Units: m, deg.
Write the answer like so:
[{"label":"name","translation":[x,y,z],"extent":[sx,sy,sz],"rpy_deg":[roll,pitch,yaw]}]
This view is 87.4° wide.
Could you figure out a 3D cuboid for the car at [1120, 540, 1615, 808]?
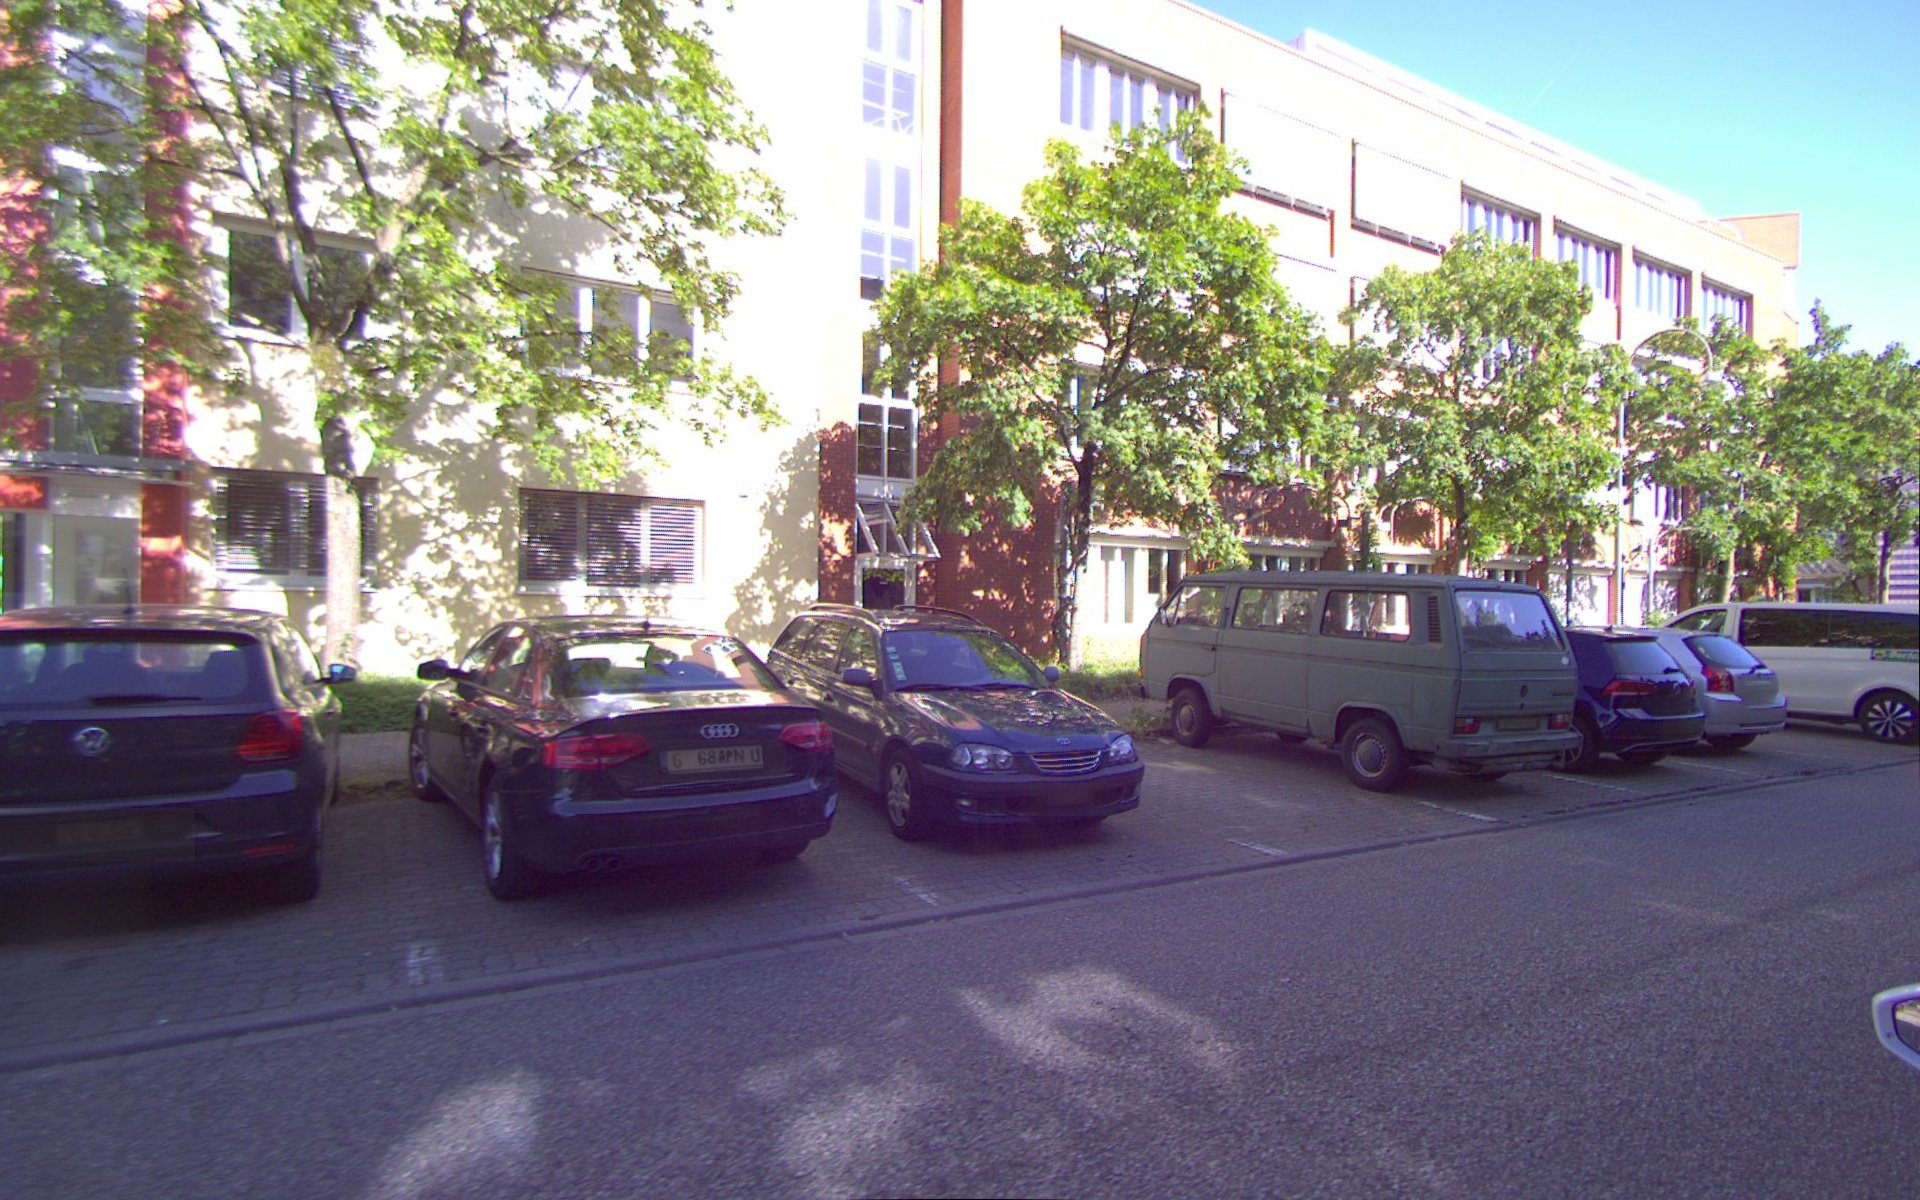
[{"label":"car","translation":[3.849,0.562,10.416],"extent":[2.056,2.118,4.470],"rpy_deg":[1,1,-27]}]

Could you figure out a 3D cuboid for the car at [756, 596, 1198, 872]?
[{"label":"car","translation":[-0.165,0.792,8.089],"extent":[1.704,1.548,4.113],"rpy_deg":[1,1,-29]}]

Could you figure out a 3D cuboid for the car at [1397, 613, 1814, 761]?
[{"label":"car","translation":[8.315,1.003,13.415],"extent":[1.918,1.497,4.304],"rpy_deg":[1,1,-27]}]

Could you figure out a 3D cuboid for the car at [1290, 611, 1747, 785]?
[{"label":"car","translation":[6.184,0.956,11.722],"extent":[1.918,1.497,4.304],"rpy_deg":[1,1,-27]}]

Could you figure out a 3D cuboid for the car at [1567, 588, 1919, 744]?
[{"label":"car","translation":[12.478,0.863,15.320],"extent":[1.920,1.993,5.233],"rpy_deg":[1,1,-29]}]

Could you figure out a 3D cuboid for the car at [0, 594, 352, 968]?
[{"label":"car","translation":[-4.566,0.735,5.806],"extent":[1.705,1.446,3.707],"rpy_deg":[1,1,-30]}]

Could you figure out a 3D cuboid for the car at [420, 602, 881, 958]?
[{"label":"car","translation":[-2.188,0.794,6.345],"extent":[1.708,1.446,3.701],"rpy_deg":[1,1,-35]}]
